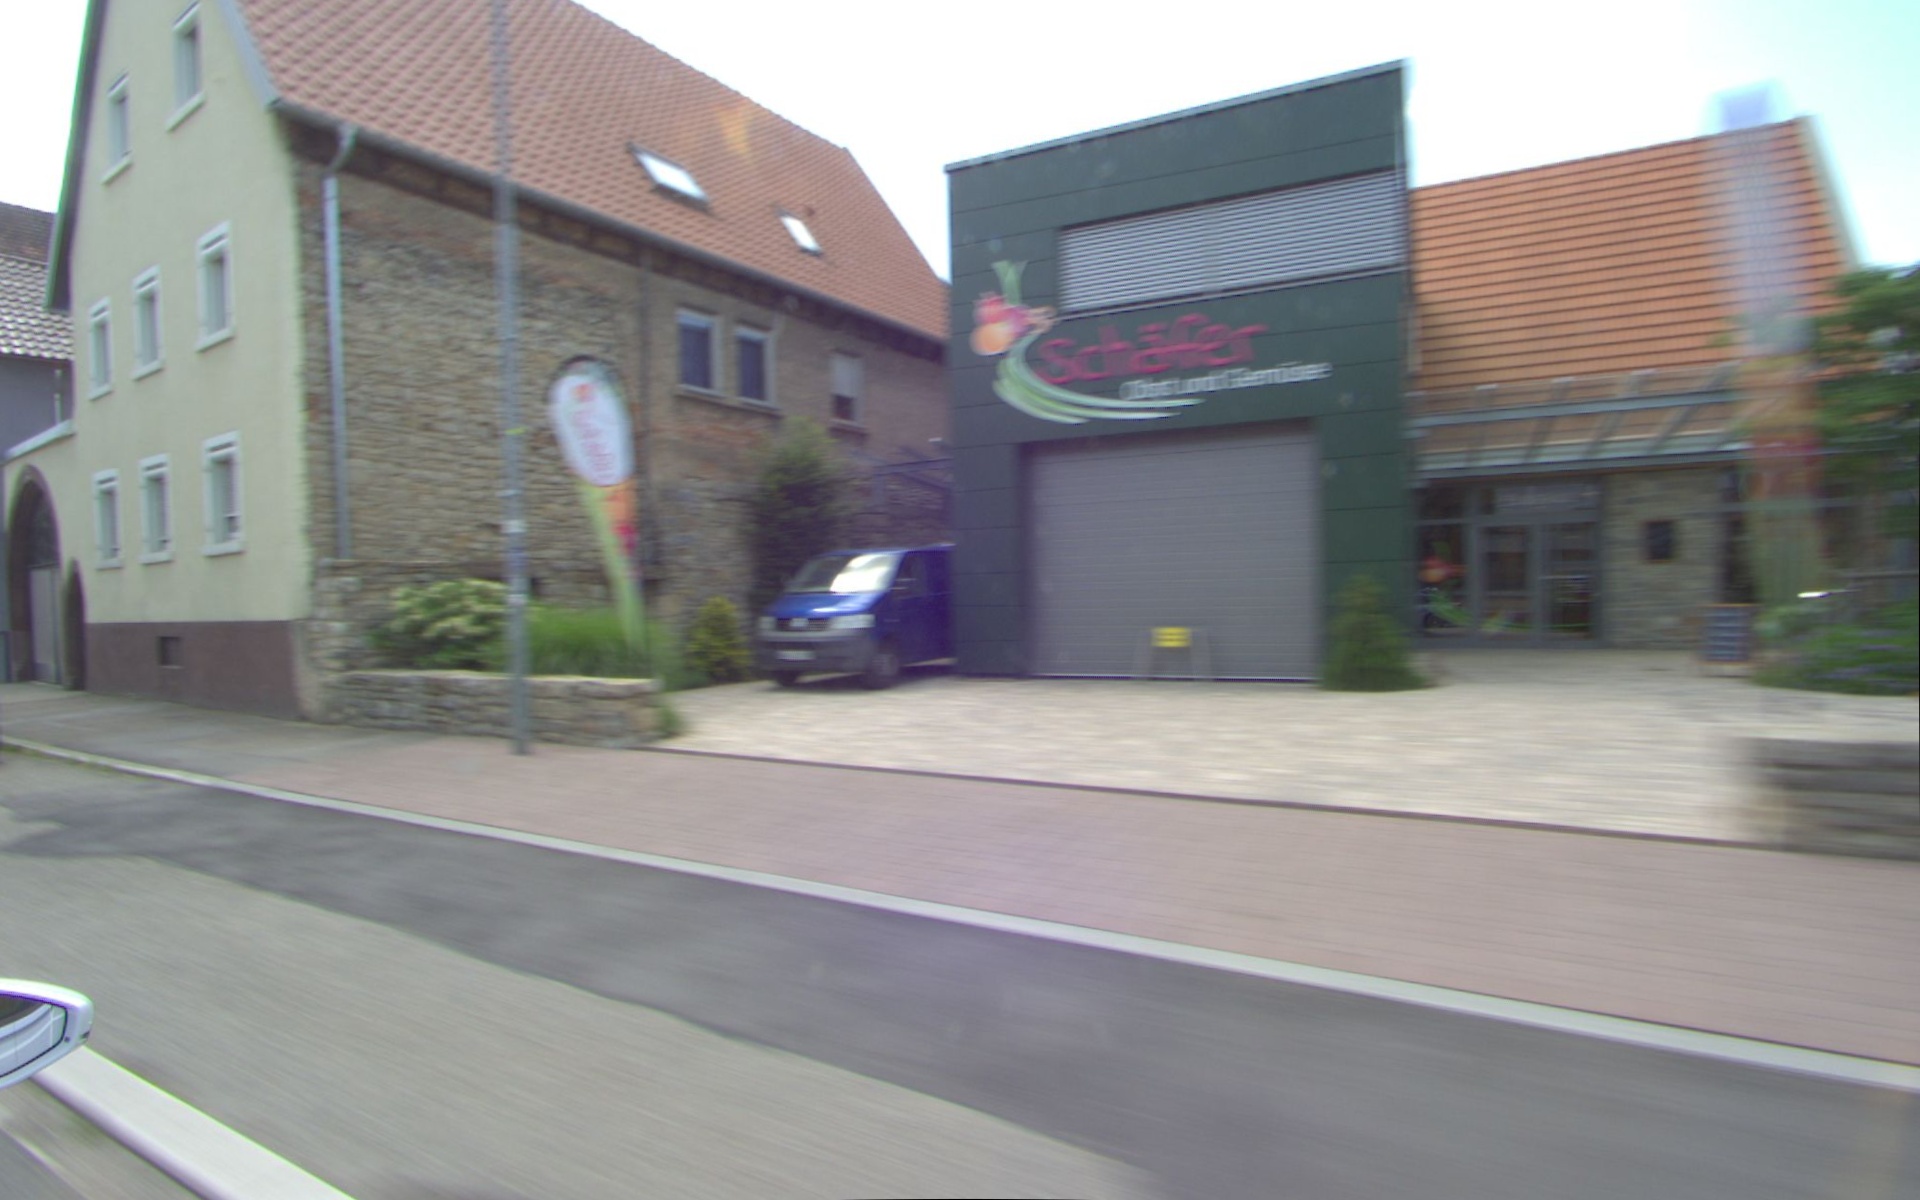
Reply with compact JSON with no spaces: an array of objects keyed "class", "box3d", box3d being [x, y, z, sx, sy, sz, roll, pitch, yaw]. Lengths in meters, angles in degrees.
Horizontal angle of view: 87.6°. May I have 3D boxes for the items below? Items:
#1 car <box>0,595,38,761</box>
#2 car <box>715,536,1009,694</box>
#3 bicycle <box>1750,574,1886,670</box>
[{"class":"car","box3d":[-11.182,0.792,10.164,3.949,1.581,1.985,0,3,38]},{"class":"car","box3d":[-1.223,0.155,15.193,1.969,1.976,5.045,-1,1,28]},{"class":"bicycle","box3d":[11.843,0.283,13.826,1.715,1.262,0.601,-1,1,-17]}]
